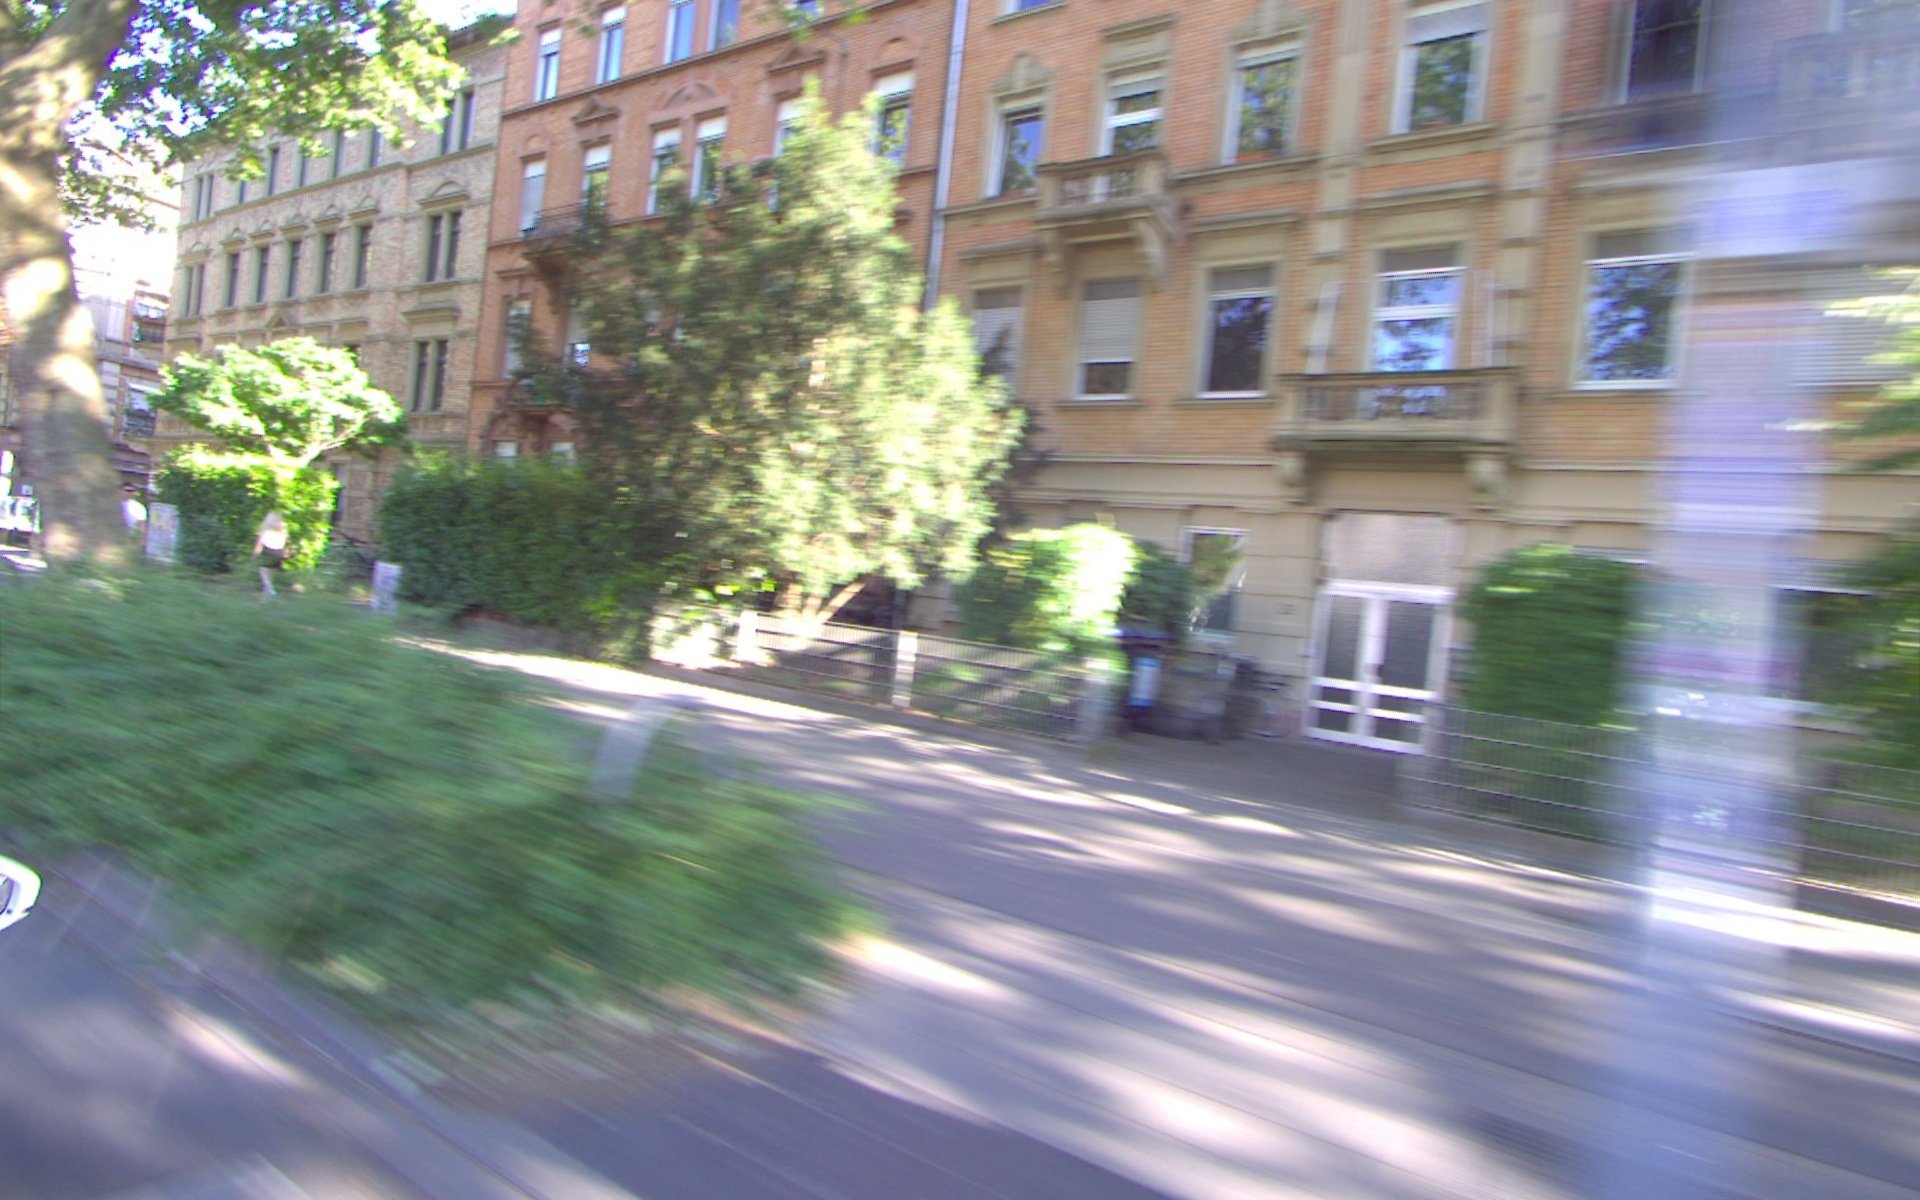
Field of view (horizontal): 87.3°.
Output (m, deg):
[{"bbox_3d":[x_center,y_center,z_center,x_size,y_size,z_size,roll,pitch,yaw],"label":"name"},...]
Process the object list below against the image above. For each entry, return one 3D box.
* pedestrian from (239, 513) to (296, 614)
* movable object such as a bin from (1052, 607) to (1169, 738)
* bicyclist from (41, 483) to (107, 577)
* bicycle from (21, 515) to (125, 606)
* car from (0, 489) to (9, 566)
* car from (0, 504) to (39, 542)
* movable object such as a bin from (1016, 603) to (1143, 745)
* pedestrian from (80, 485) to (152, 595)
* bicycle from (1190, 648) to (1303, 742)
[{"bbox_3d":[-11.924,-0.622,17.317,0.607,1.650,0.530,8,3,33],"label":"pedestrian"},{"bbox_3d":[1.908,0.891,12.730,1.066,1.484,0.907,6,2,32],"label":"movable object such as a bin"},{"bbox_3d":[-14.120,-1.108,16.028,0.633,1.398,0.543,8,2,31],"label":"bicyclist"},{"bbox_3d":[-14.174,-0.644,16.050,2.189,1.193,0.561,8,1,32],"label":"bicycle"},{"bbox_3d":[-12.105,-0.630,10.791,3.934,1.479,1.717,5,-2,32],"label":"car"},{"bbox_3d":[-41.084,-3.384,41.650,1.713,1.382,3.993,8,1,30],"label":"car"},{"bbox_3d":[1.410,0.844,11.824,1.066,1.484,0.907,6,2,32],"label":"movable object such as a bin"},{"bbox_3d":[-14.769,-1.046,17.600,0.633,1.808,0.689,8,2,31],"label":"pedestrian"},{"bbox_3d":[4.120,1.353,14.548,0.324,1.154,1.502,9,-2,-42],"label":"bicycle"}]
